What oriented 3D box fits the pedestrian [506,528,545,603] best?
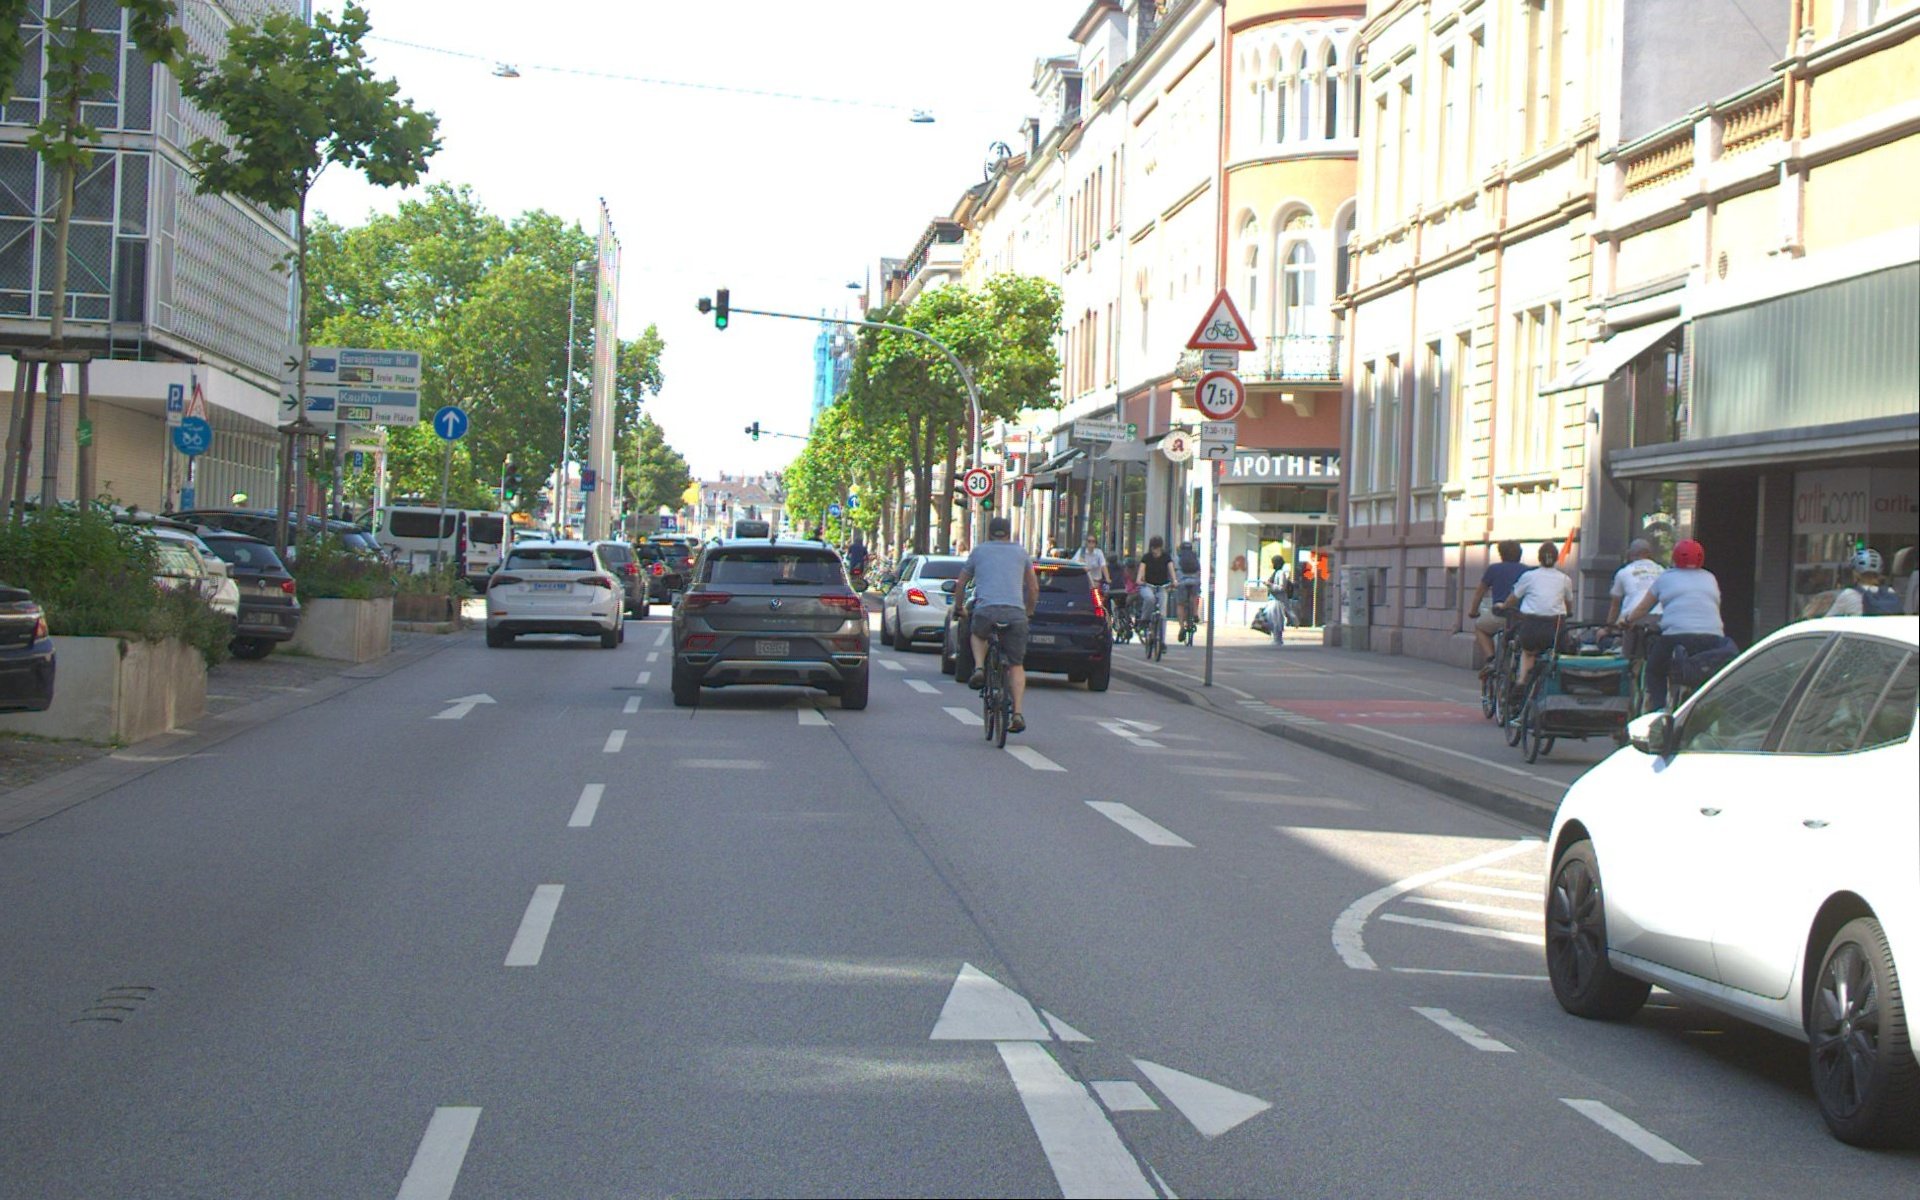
[{"bbox_3d":[-9.563,-0.756,75.677,0.612,1.610,0.550,3,-1,-34],"label":"pedestrian"}]

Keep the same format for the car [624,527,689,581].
[{"bbox_3d":[-8.524,-1.298,96.802,1.743,1.436,4.001,2,1,-5],"label":"car"}]

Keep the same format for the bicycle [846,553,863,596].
[{"bbox_3d":[-2.896,-0.706,94.026,0.419,1.131,1.910,2,1,-2],"label":"bicycle"}]

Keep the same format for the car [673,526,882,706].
[{"bbox_3d":[-1.756,0.101,32.438,1.833,1.522,4.001,1,2,-4],"label":"car"}]

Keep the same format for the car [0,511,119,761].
[{"bbox_3d":[-7.765,0.058,22.064,4.347,1.508,1.830,5,1,26],"label":"car"}]

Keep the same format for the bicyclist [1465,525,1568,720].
[{"bbox_3d":[4.664,0.180,28.843,0.632,1.589,0.920,2,0,-2],"label":"bicyclist"}]

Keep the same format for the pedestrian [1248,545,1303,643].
[{"bbox_3d":[5.653,-0.111,61.616,0.791,1.714,0.730,1,1,-9],"label":"pedestrian"}]

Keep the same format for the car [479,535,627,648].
[{"bbox_3d":[-5.554,-0.148,47.272,1.862,1.436,4.001,2,1,-5],"label":"car"}]

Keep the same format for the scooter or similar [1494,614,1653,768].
[{"bbox_3d":[4.752,0.690,26.726,0.870,1.118,1.621,1,1,-2],"label":"scooter or similar"}]

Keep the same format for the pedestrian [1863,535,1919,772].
[{"bbox_3d":[7.197,0.394,25.386,0.878,1.712,0.835,2,1,8],"label":"pedestrian"}]

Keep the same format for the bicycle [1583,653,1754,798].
[{"bbox_3d":[4.903,0.851,23.903,0.647,0.876,2.103,2,1,-2],"label":"bicycle"}]

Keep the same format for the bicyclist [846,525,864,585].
[{"bbox_3d":[-2.868,-1.235,93.936,0.419,1.624,0.709,2,1,-2],"label":"bicyclist"}]

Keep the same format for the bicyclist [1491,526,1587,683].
[{"bbox_3d":[4.707,0.030,27.970,0.623,1.244,0.608,2,1,-2],"label":"bicyclist"}]

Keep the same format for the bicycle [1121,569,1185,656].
[{"bbox_3d":[2.725,0.160,48.672,0.555,1.116,2.244,4,1,-4],"label":"bicycle"}]

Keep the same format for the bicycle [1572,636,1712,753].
[{"bbox_3d":[5.710,0.776,28.894,0.647,0.876,2.103,2,1,-2],"label":"bicycle"}]

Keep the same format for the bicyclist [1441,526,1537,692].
[{"bbox_3d":[5.195,0.081,33.781,0.709,1.589,0.963,2,1,-2],"label":"bicyclist"}]

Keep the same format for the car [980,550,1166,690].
[{"bbox_3d":[1.295,0.204,40.573,1.822,1.404,3.187,5,1,-3],"label":"car"}]

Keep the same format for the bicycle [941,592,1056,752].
[{"bbox_3d":[0.286,0.543,27.249,0.664,1.116,2.244,4,1,-4],"label":"bicycle"}]

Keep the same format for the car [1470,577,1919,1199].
[{"bbox_3d":[3.133,0.784,10.753,1.812,1.461,4.582,4,2,-7],"label":"car"}]

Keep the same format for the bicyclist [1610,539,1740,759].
[{"bbox_3d":[4.917,0.324,23.683,0.625,1.471,0.889,2,1,-2],"label":"bicyclist"}]

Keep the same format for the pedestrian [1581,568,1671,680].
[{"bbox_3d":[7.620,0.273,39.368,0.936,1.264,0.567,0,1,2],"label":"pedestrian"}]

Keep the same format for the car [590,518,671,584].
[{"bbox_3d":[-7.591,-1.143,79.465,1.743,1.436,4.001,2,1,-5],"label":"car"}]

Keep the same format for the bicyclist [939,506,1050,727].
[{"bbox_3d":[0.264,0.117,27.181,0.694,1.667,0.916,4,2,-3],"label":"bicyclist"}]

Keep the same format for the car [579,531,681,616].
[{"bbox_3d":[-5.975,-0.512,62.583,1.743,1.436,4.001,2,1,-5],"label":"car"}]

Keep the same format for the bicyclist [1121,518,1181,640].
[{"bbox_3d":[2.692,-0.284,48.531,0.694,1.668,0.835,2,-2,-3],"label":"bicyclist"}]

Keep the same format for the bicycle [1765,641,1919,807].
[{"bbox_3d":[6.023,0.817,23.233,0.563,0.993,2.103,2,1,-2],"label":"bicycle"}]

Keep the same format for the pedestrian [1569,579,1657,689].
[{"bbox_3d":[7.623,0.396,40.167,0.936,1.264,0.567,0,1,2],"label":"pedestrian"}]

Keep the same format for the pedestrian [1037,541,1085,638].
[{"bbox_3d":[1.918,-0.206,65.382,0.727,1.803,0.653,3,1,13],"label":"pedestrian"}]

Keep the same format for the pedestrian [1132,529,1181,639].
[{"bbox_3d":[3.450,-0.283,60.289,0.709,1.893,1.152,2,1,-1],"label":"pedestrian"}]

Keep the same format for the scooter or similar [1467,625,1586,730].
[{"bbox_3d":[5.284,0.716,32.118,0.853,0.916,1.164,2,1,-2],"label":"scooter or similar"}]

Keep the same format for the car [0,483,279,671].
[{"bbox_3d":[-9.168,-0.311,34.872,3.992,1.563,1.698,7,1,21],"label":"car"}]

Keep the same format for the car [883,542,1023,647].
[{"bbox_3d":[-0.149,-0.110,51.012,1.822,1.380,4.001,2,2,-3],"label":"car"}]

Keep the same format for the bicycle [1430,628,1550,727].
[{"bbox_3d":[5.189,0.750,33.794,0.740,0.876,2.138,2,1,-2],"label":"bicycle"}]

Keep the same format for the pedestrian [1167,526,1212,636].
[{"bbox_3d":[3.809,-0.323,57.086,0.652,1.803,0.729,1,1,-2],"label":"pedestrian"}]

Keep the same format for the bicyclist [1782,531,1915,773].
[{"bbox_3d":[6.033,0.339,23.379,0.582,1.589,0.920,2,1,-2],"label":"bicyclist"}]

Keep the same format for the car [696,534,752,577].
[{"bbox_3d":[-8.322,-1.570,120.887,1.862,1.436,4.001,2,1,-5],"label":"car"}]

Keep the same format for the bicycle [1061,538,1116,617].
[{"bbox_3d":[2.111,-0.379,56.836,0.555,1.205,2.244,6,1,-4],"label":"bicycle"}]

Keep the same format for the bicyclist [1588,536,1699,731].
[{"bbox_3d":[5.725,0.274,28.831,0.658,1.589,0.920,2,1,-2],"label":"bicyclist"}]

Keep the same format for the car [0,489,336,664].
[{"bbox_3d":[-9.058,-0.287,38.157,3.995,1.454,1.667,8,1,33],"label":"car"}]

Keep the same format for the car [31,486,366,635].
[{"bbox_3d":[-9.957,-0.520,45.164,3.986,1.495,1.718,6,0,-6],"label":"car"}]

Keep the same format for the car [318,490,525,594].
[{"bbox_3d":[-12.842,-1.400,81.926,4.719,1.996,1.937,6,0,36],"label":"car"}]

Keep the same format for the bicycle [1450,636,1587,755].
[{"bbox_3d":[4.648,0.778,28.767,0.647,0.876,2.389,2,1,-2],"label":"bicycle"}]

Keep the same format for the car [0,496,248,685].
[{"bbox_3d":[-8.790,-0.192,31.361,3.990,1.485,1.782,6,1,13],"label":"car"}]

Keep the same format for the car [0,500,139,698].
[{"bbox_3d":[-8.990,-0.183,28.477,3.986,1.495,1.718,6,0,-8],"label":"car"}]

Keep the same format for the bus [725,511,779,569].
[{"bbox_3d":[-13.480,-3.908,221.863,2.769,3.592,8.976,2,1,-7],"label":"bus"}]

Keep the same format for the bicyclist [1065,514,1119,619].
[{"bbox_3d":[2.191,-0.569,57.093,0.694,1.667,0.835,5,2,-3],"label":"bicyclist"}]
